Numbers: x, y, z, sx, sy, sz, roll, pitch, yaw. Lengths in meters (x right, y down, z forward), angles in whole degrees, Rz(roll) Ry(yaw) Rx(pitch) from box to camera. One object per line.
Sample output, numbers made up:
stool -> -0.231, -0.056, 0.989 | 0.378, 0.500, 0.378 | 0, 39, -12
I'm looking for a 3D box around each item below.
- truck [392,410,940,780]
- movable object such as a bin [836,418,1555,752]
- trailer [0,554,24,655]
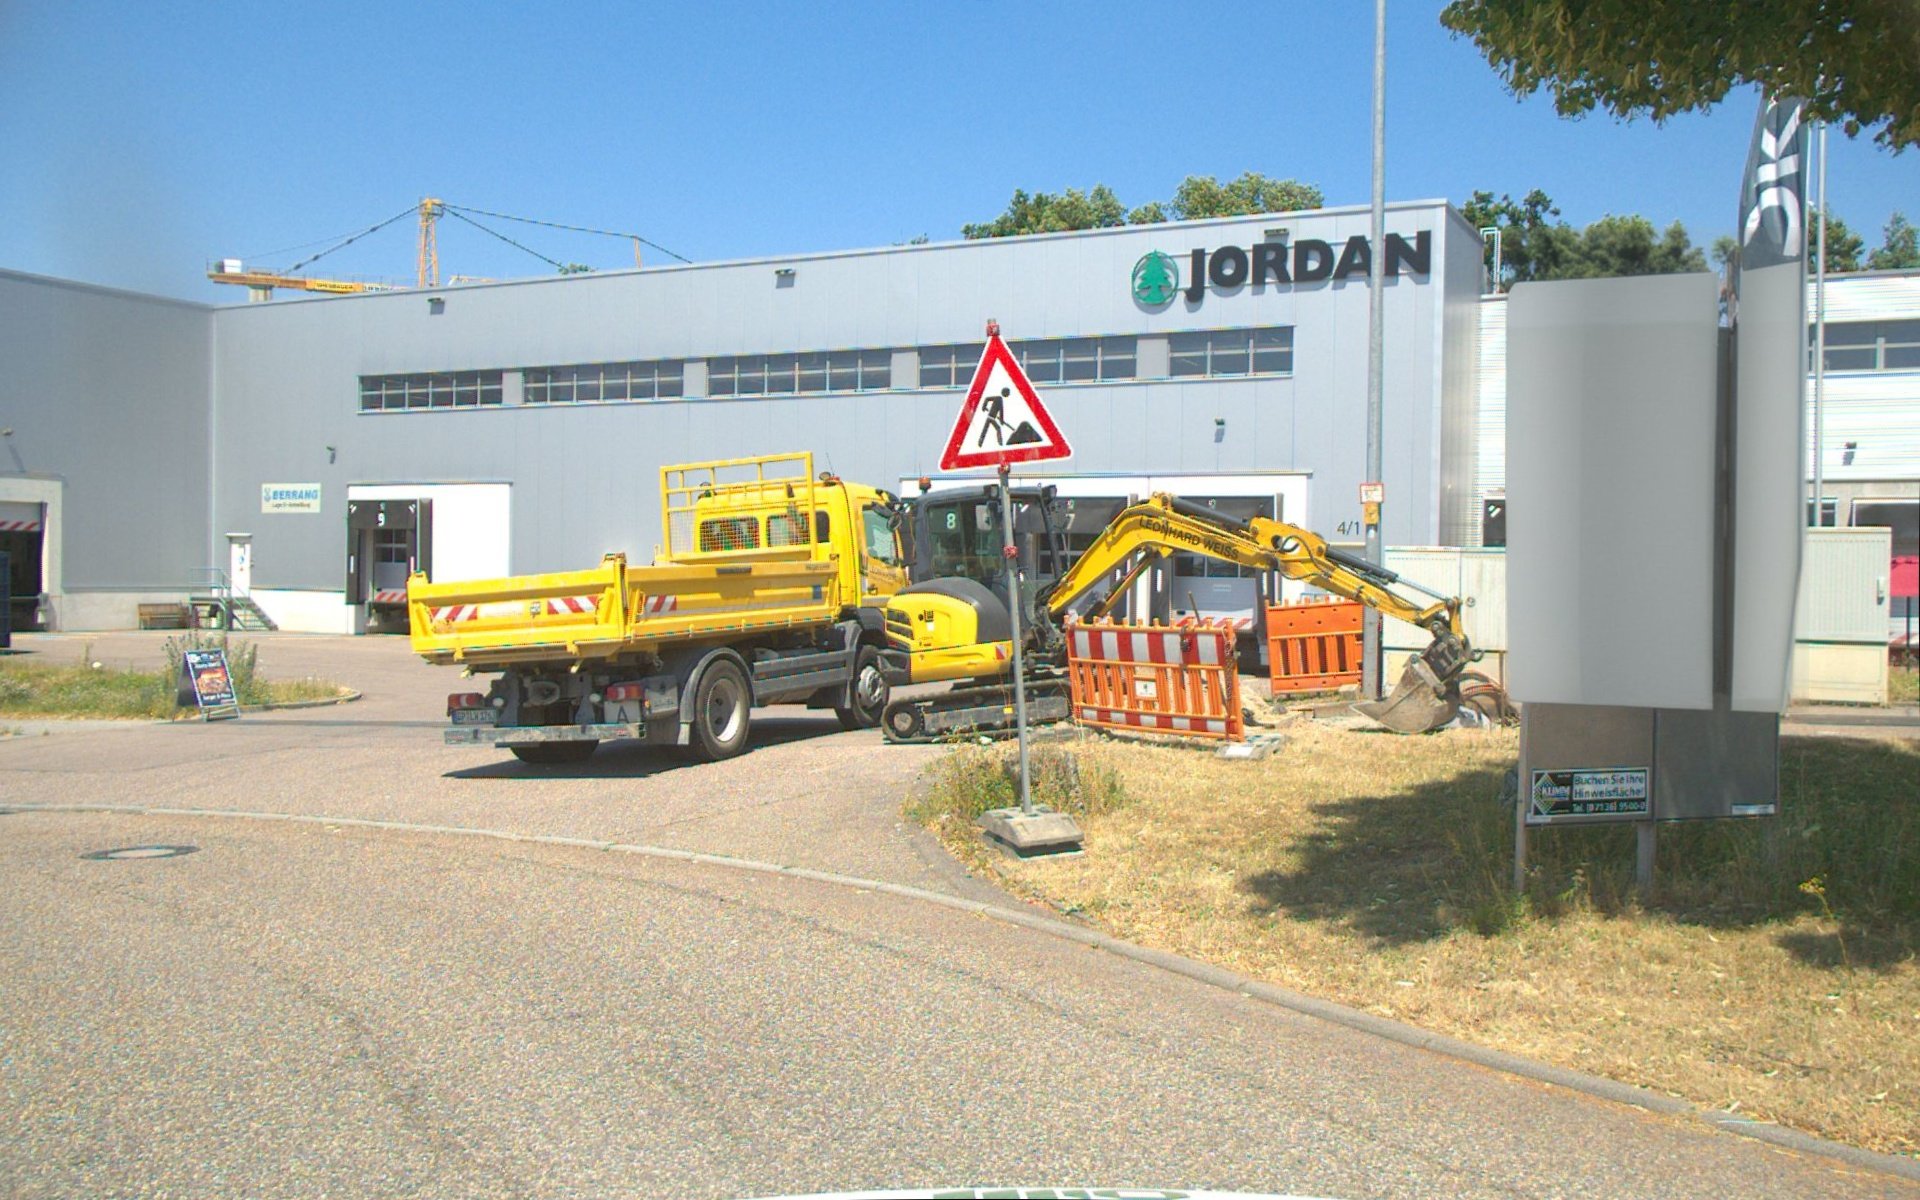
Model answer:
truck -> -2.738, -0.137, 17.708 | 2.535, 3.190, 6.424 | -2, 2, 23
movable object such as a bin -> 2.013, -0.036, 15.565 | 6.438, 2.626, 1.995 | -2, -1, 33
trailer -> -26.919, -0.084, 41.420 | 7.253, 2.463, 2.663 | 3, 1, 30
